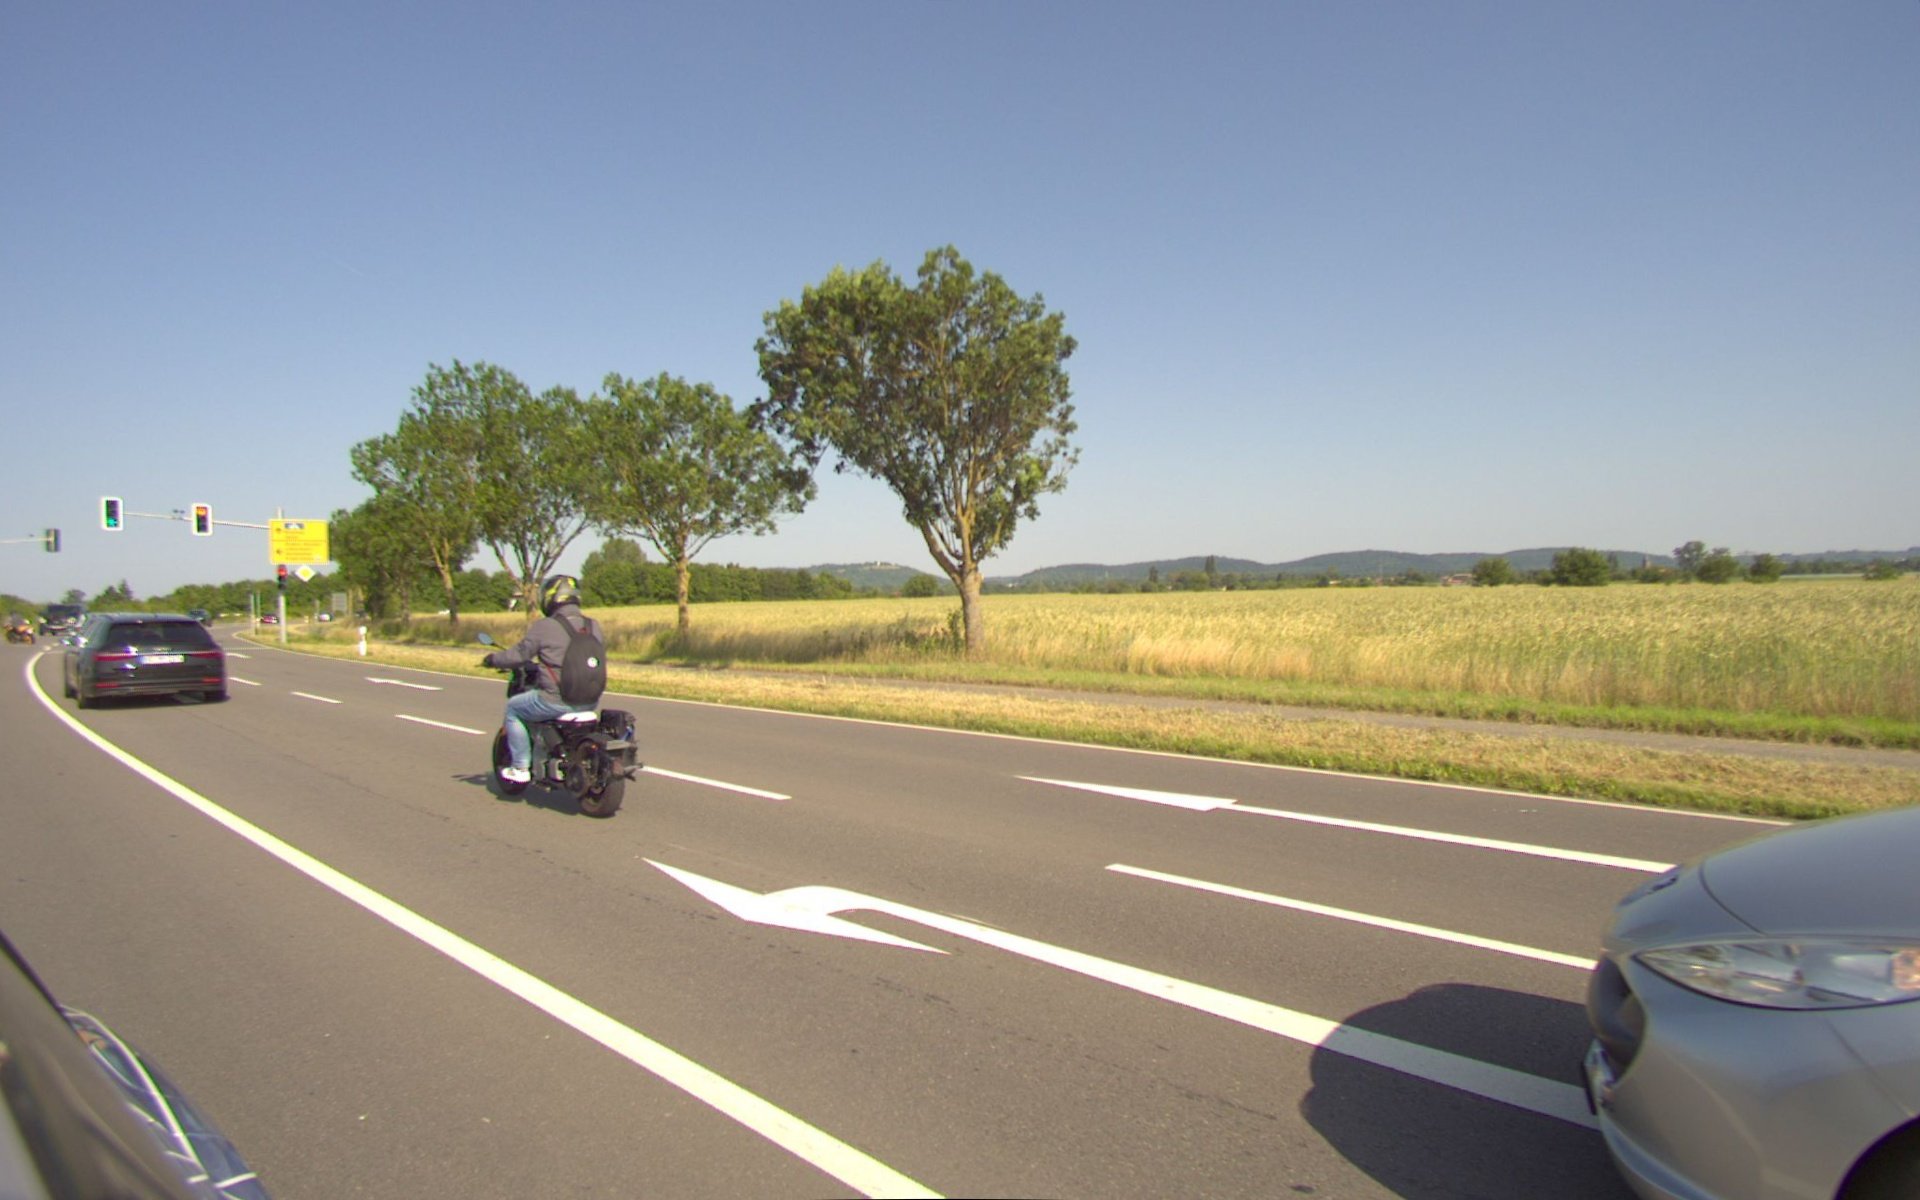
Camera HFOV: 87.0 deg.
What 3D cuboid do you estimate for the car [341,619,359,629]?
[{"bbox_3d":[-106.453,4.137,176.552,1.858,1.638,4.012,1,-2,-19],"label":"car"}]

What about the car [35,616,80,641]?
[{"bbox_3d":[-57.461,1.793,64.490,1.832,1.554,4.009,0,-1,-37],"label":"car"}]

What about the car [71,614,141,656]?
[{"bbox_3d":[-32.745,1.325,38.896,1.865,1.477,4.284,-1,-1,-38],"label":"car"}]

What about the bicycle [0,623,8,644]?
[{"bbox_3d":[-54.647,1.887,56.452,2.116,1.158,1.076,1,0,-37],"label":"bicycle"}]

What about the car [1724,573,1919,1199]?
[{"bbox_3d":[3.411,0.650,1.127,3.997,1.414,1.669,-1,-1,41],"label":"car"}]

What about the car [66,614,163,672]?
[{"bbox_3d":[-23.524,1.147,28.098,1.867,1.472,4.311,1,-2,-42],"label":"car"}]

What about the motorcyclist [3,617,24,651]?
[{"bbox_3d":[-43.109,1.532,46.075,0.671,1.527,1.182,0,-1,-44],"label":"motorcyclist"}]

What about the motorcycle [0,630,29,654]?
[{"bbox_3d":[-43.003,1.907,46.024,0.886,1.051,2.430,0,-1,-44],"label":"motorcycle"}]

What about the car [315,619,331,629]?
[{"bbox_3d":[-97.733,3.693,155.277,1.606,1.387,4.437,1,-2,-26],"label":"car"}]

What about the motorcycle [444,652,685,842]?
[{"bbox_3d":[-2.869,0.955,7.225,1.969,1.082,0.861,-1,-1,44],"label":"motorcycle"}]

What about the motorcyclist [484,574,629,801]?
[{"bbox_3d":[-2.901,0.584,7.265,0.847,1.506,0.670,-1,-1,44],"label":"motorcyclist"}]

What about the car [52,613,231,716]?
[{"bbox_3d":[-13.809,0.964,16.954,1.868,1.447,4.800,-1,0,-45],"label":"car"}]
